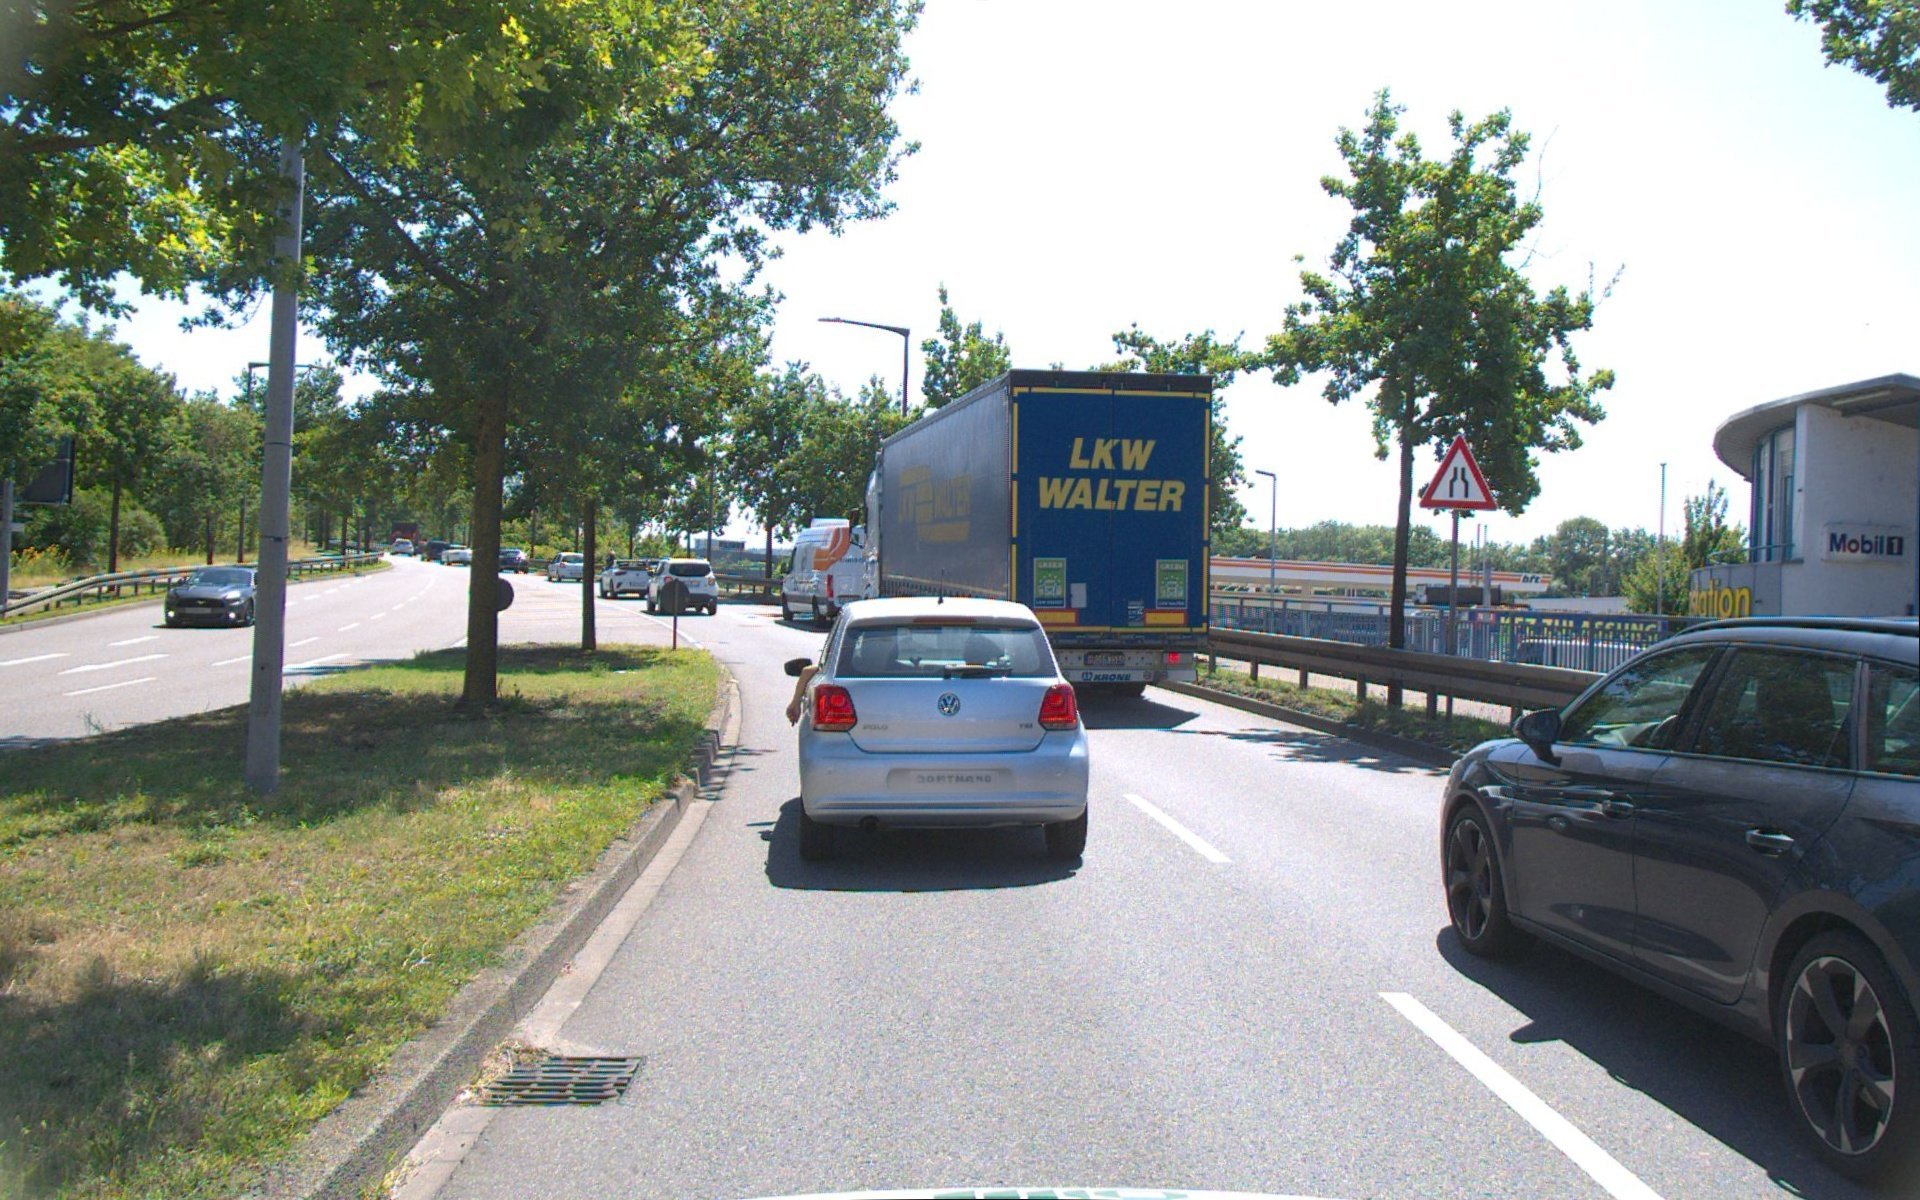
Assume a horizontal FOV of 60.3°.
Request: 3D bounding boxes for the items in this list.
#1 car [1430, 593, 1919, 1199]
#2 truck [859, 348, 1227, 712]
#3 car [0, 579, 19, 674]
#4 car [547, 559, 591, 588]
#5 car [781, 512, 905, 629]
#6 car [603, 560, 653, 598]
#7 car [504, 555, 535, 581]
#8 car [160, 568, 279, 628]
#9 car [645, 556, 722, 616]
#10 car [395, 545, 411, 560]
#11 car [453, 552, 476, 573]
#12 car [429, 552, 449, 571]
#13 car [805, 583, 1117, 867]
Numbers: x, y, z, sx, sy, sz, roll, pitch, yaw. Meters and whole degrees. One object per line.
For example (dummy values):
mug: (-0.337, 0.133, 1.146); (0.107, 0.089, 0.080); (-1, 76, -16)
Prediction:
car: (3.044, 0.748, 5.413); (1.573, 1.481, 4.232); (1, 0, -3)
truck: (0.530, -0.888, 27.864); (2.781, 4.271, 16.439); (1, 0, -9)
car: (-15.683, 0.415, 23.881); (1.794, 1.462, 4.522); (-1, 0, -3)
car: (-20.053, -1.366, 84.776); (1.586, 1.383, 3.636); (1, 0, -23)
car: (-3.325, -0.842, 45.475); (2.140, 2.951, 6.333); (1, 1, -15)
car: (-12.888, -0.806, 64.030); (1.471, 1.383, 3.644); (1, 0, -18)
car: (-26.908, -1.951, 100.945); (1.639, 1.490, 3.562); (1, 0, -18)
car: (-18.029, -0.037, 40.461); (1.778, 1.357, 4.553); (1, 0, -13)
car: (-8.646, -0.409, 51.512); (1.872, 1.748, 4.205); (1, 0, -16)
car: (-49.410, -4.194, 146.811); (1.301, 1.158, 2.979); (1, 0, -19)
car: (-34.236, -2.603, 114.262); (1.434, 1.337, 3.619); (1, 0, -18)
car: (-39.531, -2.936, 125.396); (1.396, 1.337, 3.320); (1, 0, -18)
car: (-0.144, 0.668, 10.417); (1.614, 1.464, 3.533); (1, 0, -5)
